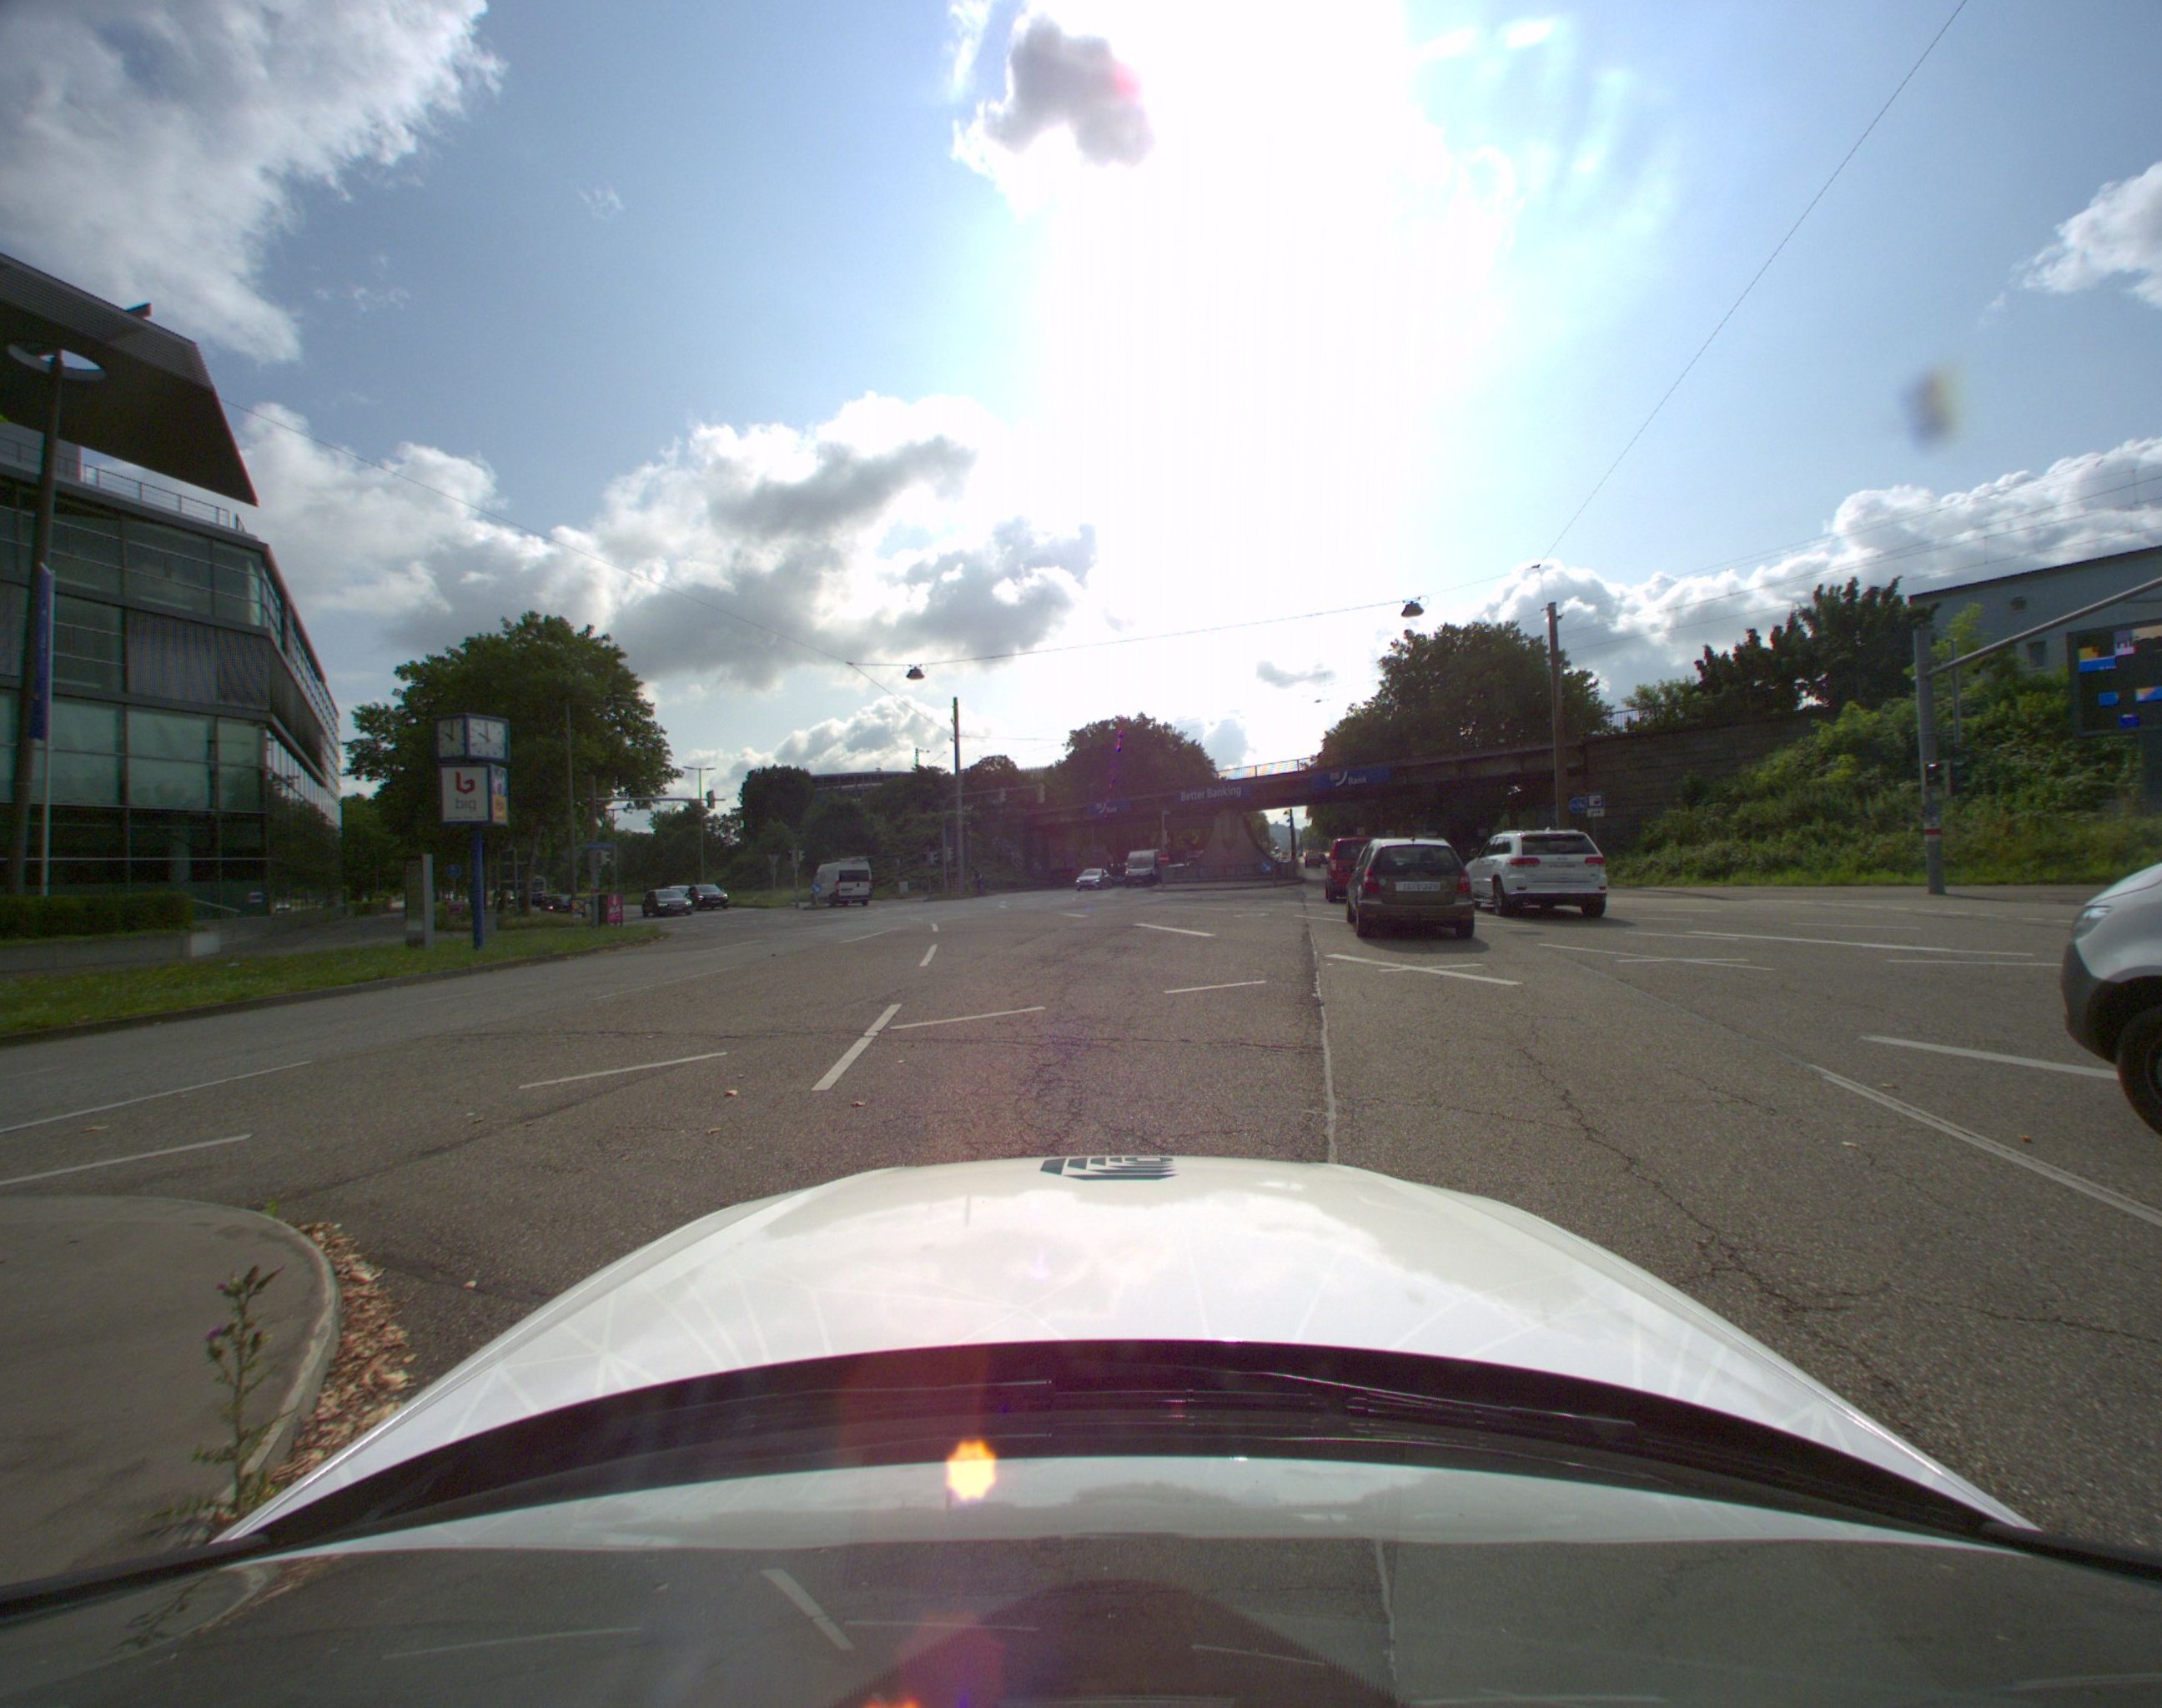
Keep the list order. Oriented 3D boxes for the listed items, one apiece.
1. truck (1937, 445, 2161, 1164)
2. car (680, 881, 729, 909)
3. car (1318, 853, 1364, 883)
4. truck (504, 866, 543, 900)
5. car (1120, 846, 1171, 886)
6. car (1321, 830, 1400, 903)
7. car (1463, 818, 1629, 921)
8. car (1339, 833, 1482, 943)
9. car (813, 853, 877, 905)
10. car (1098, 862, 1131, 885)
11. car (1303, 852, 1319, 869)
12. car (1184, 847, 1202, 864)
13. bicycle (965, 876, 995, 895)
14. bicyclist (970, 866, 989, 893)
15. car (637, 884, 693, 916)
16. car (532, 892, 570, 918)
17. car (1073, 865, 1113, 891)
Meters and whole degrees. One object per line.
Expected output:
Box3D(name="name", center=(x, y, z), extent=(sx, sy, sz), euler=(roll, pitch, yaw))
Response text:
Box3D(name="truck", center=(5.456, -0.256, 1.422), extent=(2.430, 3.121, 6.049), euler=(-2, -1, 13))
Box3D(name="car", center=(-23.152, 2.527, 49.960), extent=(1.722, 1.587, 4.311), euler=(-1, -2, -39))
Box3D(name="car", center=(14.283, 0.752, 44.699), extent=(1.835, 1.522, 3.638), euler=(-3, -2, 26))
Box3D(name="truck", center=(-67.206, 3.380, 98.099), extent=(2.673, 3.888, 10.038), euler=(-1, 0, -41))
Box3D(name="car", center=(4.520, 0.832, 56.205), extent=(2.241, 2.526, 5.650), euler=(-3, -1, 16))
Box3D(name="car", center=(8.461, 0.359, 24.998), extent=(1.941, 2.017, 4.695), euler=(0, 0, 15))
Box3D(name="car", center=(9.702, 0.290, 17.440), extent=(1.980, 1.901, 4.527), euler=(-1, 0, 15))
Box3D(name="car", center=(5.498, 0.499, 14.034), extent=(1.778, 1.608, 3.814), euler=(-2, 0, 15))
Box3D(name="car", center=(-13.365, 1.414, 45.873), extent=(2.212, 2.726, 4.881), euler=(0, -2, -32))
Box3D(name="car", center=(2.654, 1.509, 63.898), extent=(1.754, 1.583, 4.677), euler=(-6, -2, 11))
Box3D(name="car", center=(29.109, 0.803, 103.160), extent=(1.941, 2.017, 4.695), euler=(0, 0, 15))
Box3D(name="car", center=(18.110, 0.251, 131.468), extent=(2.230, 2.578, 5.644), euler=(-4, -1, 12))
Box3D(name="bicycle", center=(-6.432, 1.991, 51.850), extent=(0.835, 1.093, 2.331), euler=(-2, -1, 22))
Box3D(name="bicyclist", center=(-6.476, 1.628, 51.803), extent=(0.835, 1.678, 0.828), euler=(-3, -1, 22))
Box3D(name="car", center=(-22.939, 2.507, 44.787), extent=(1.880, 1.574, 4.515), euler=(0, -2, -38))
Box3D(name="car", center=(-37.370, 3.545, 57.390), extent=(1.743, 1.572, 3.954), euler=(3, -1, -39))
Box3D(name="car", center=(0.849, 1.596, 54.829), extent=(1.690, 1.476, 4.015), euler=(-6, -2, 14))
